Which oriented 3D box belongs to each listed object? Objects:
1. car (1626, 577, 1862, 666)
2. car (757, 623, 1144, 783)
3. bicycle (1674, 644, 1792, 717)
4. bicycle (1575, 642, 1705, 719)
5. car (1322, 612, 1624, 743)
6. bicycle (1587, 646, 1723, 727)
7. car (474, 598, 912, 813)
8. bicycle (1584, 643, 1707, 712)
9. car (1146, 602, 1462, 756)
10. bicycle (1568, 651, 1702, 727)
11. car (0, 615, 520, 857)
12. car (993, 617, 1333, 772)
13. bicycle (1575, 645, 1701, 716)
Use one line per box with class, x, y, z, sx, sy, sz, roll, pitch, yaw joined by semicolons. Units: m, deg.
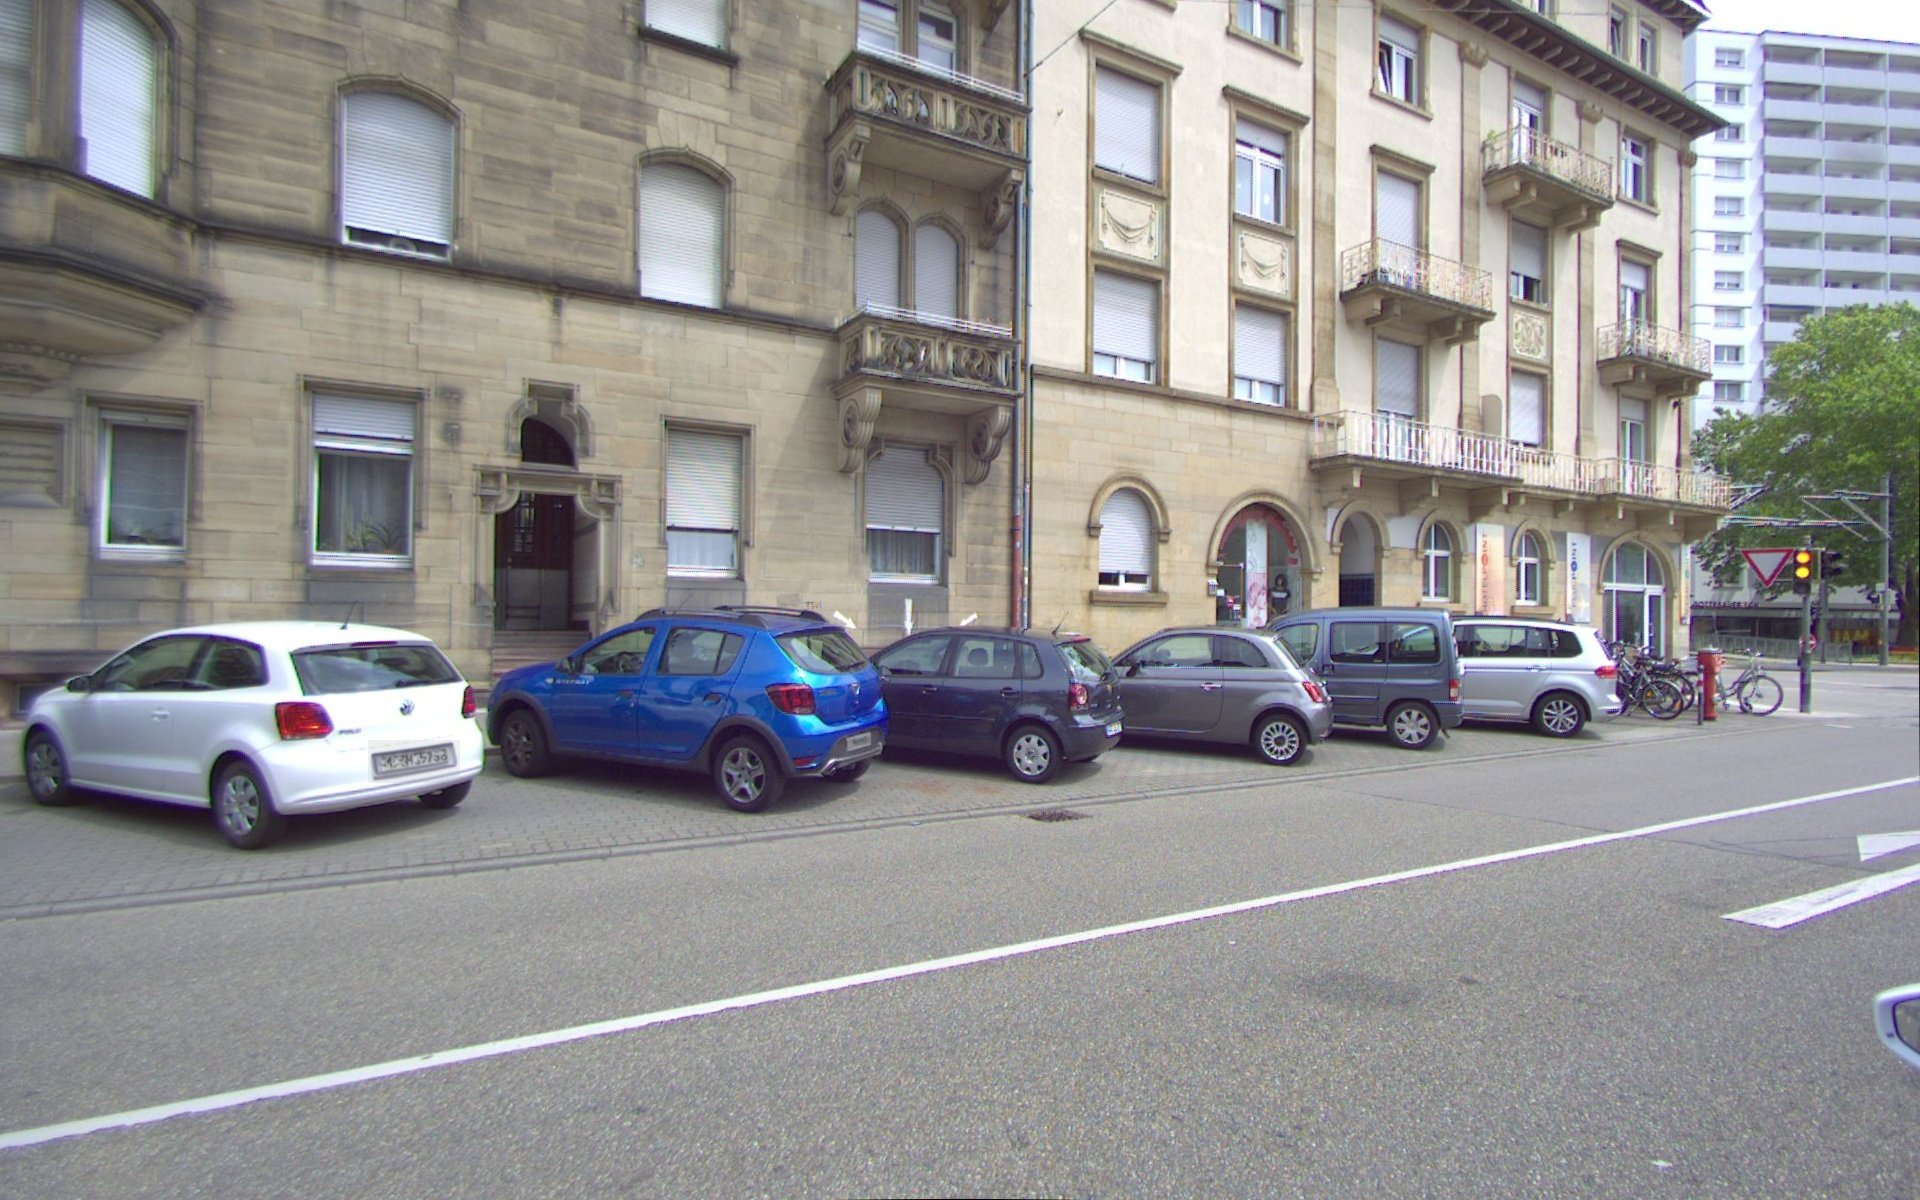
car;38.276;1.076;49.764;3.389;3.967;9.911;0;-1;-5
car;-0.100;0.993;10.995;3.830;1.463;1.836;0;-1;25
bicycle;14.272;1.453;18.617;0.489;1.182;1.878;2;1;-9
bicycle;12.000;1.396;17.774;0.588;1.182;1.796;1;1;-37
car;7.680;1.101;15.457;3.934;1.797;1.796;0;-1;22
bicycle;11.650;1.412;16.907;0.586;1.135;1.803;1;2;-25
car;-2.490;0.848;9.387;3.706;1.673;1.723;0;-1;24
bicycle;12.856;1.426;18.900;0.588;1.135;1.796;1;1;-37
car;4.738;1.004;14.045;3.934;1.903;1.796;0;-1;22
bicycle;11.080;1.437;16.558;0.586;1.135;1.805;1;-1;-23
car;-5.458;0.880;7.839;3.616;1.501;1.741;0;-1;25
car;2.563;1.069;12.603;3.934;1.673;1.796;0;-1;22
bicycle;12.362;1.440;18.368;0.588;1.135;1.796;1;1;-37
